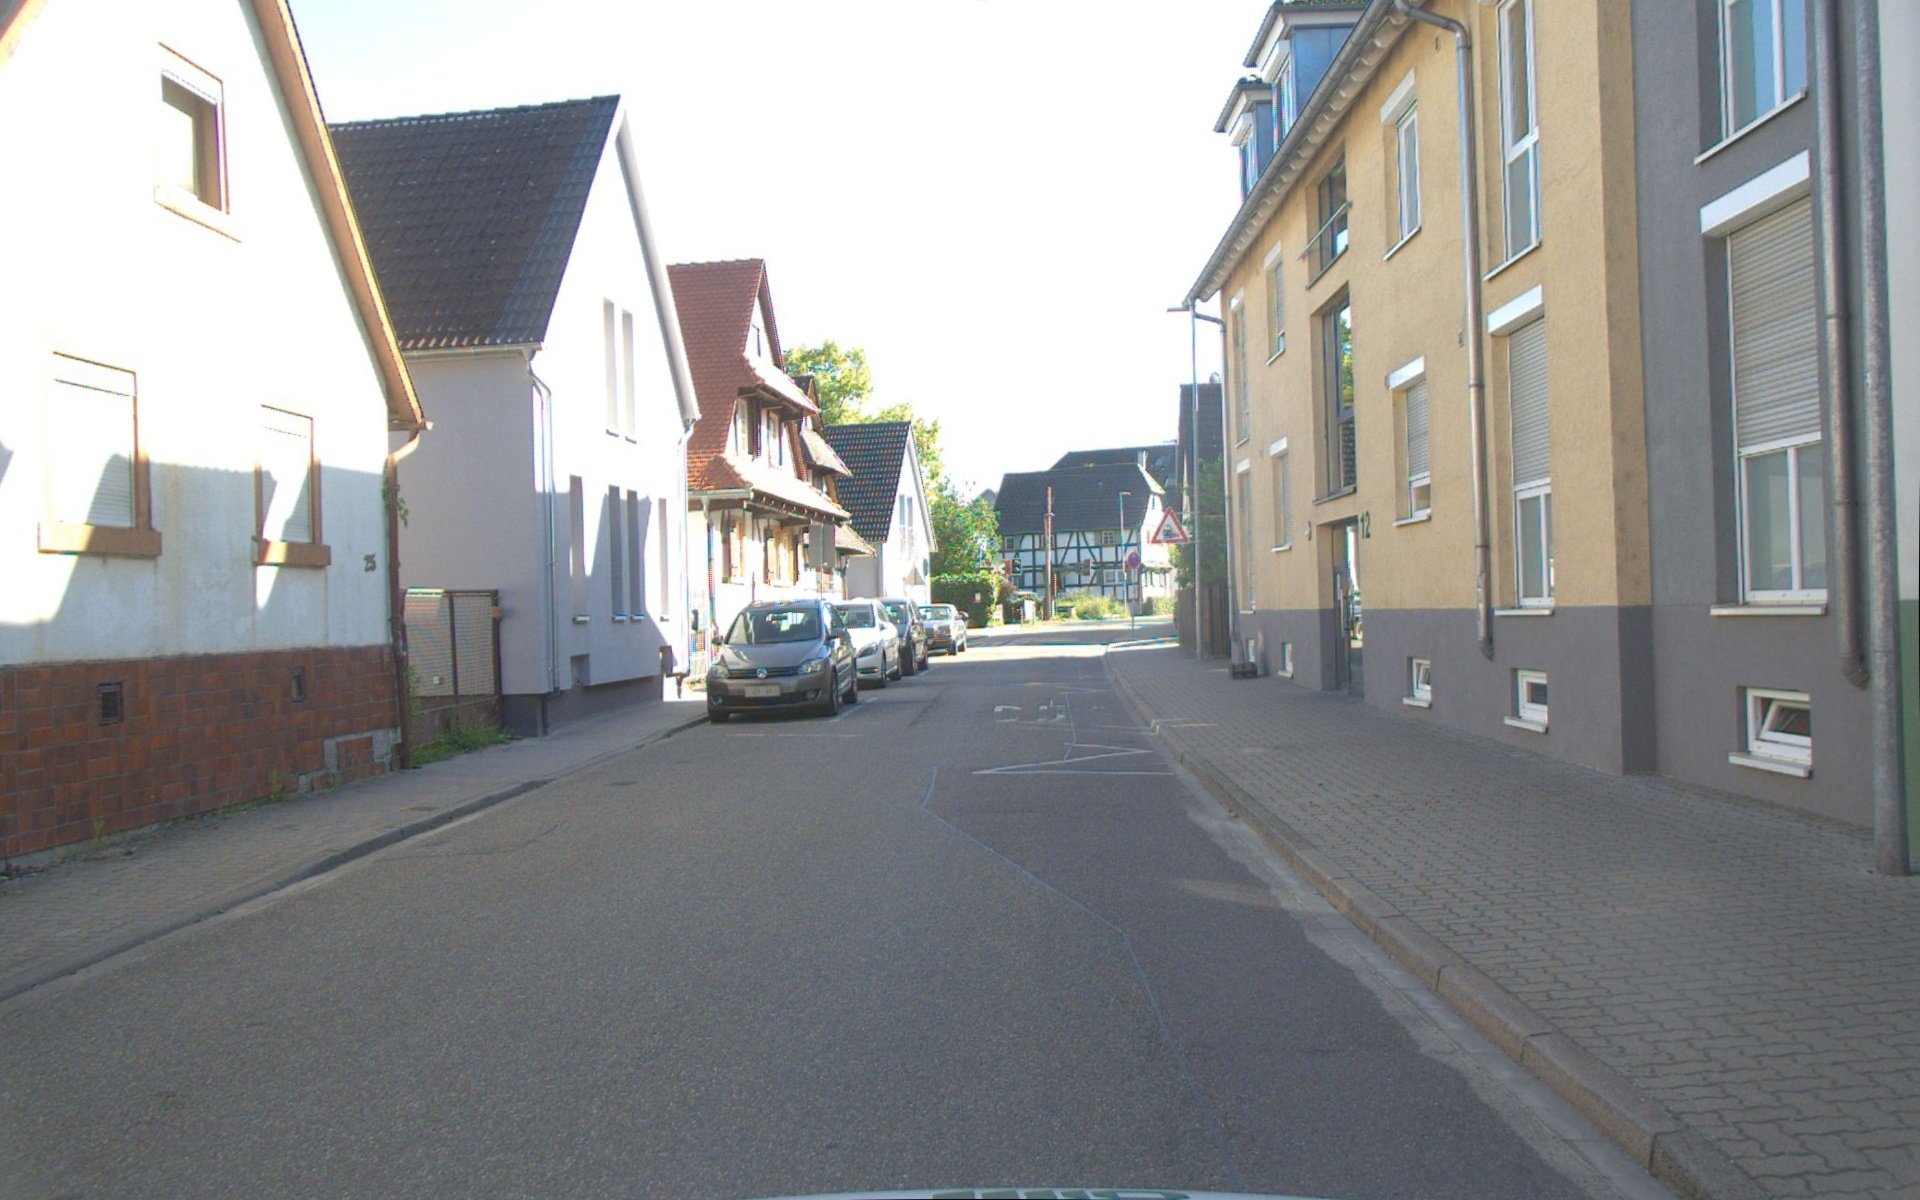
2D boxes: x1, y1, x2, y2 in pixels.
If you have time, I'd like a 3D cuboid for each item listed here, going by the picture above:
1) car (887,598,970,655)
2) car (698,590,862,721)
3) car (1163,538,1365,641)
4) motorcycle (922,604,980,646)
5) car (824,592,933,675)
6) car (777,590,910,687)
[{"bbox_3d":[-0.836,0.741,47.244,1.806,1.430,5.039,-3,-1,5],"label":"car"},{"bbox_3d":[-2.466,0.745,23.566,1.706,1.642,4.001,-2,-1,2],"label":"car"},{"bbox_3d":[9.220,-0.292,50.510,5.685,2.701,1.968,-4,-1,1],"label":"car"},{"bbox_3d":[-0.298,0.772,50.980,0.621,1.253,1.965,-2,0,-41],"label":"motorcycle"},{"bbox_3d":[-1.693,0.683,35.728,1.746,1.633,4.363,-2,0,5],"label":"car"},{"bbox_3d":[-2.065,0.674,30.396,1.778,1.594,4.170,-2,-1,5],"label":"car"}]
